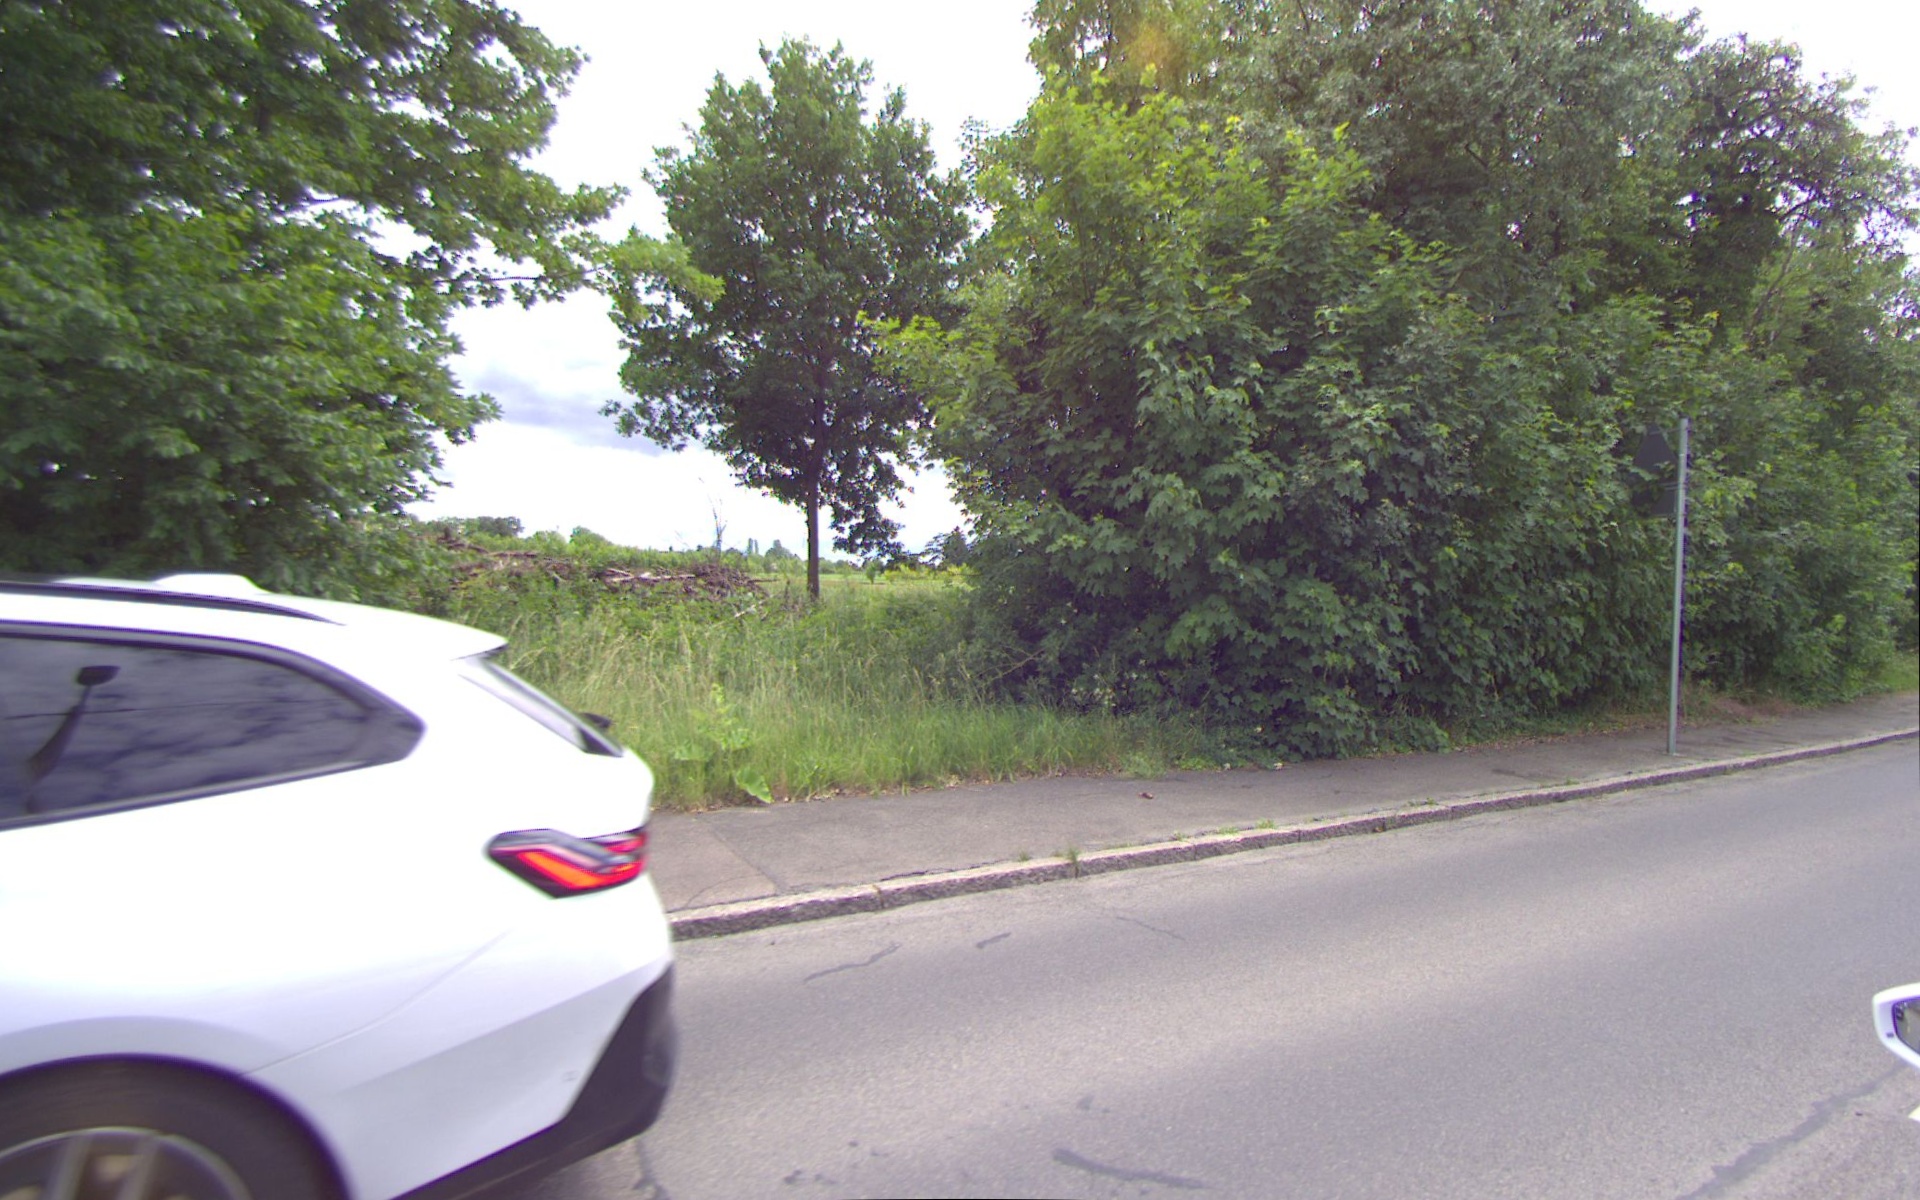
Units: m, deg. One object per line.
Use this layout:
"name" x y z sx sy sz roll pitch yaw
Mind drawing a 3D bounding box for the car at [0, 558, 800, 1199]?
"car" -2.802 0.698 1.782 4.605 1.542 1.920 2 -1 -31
